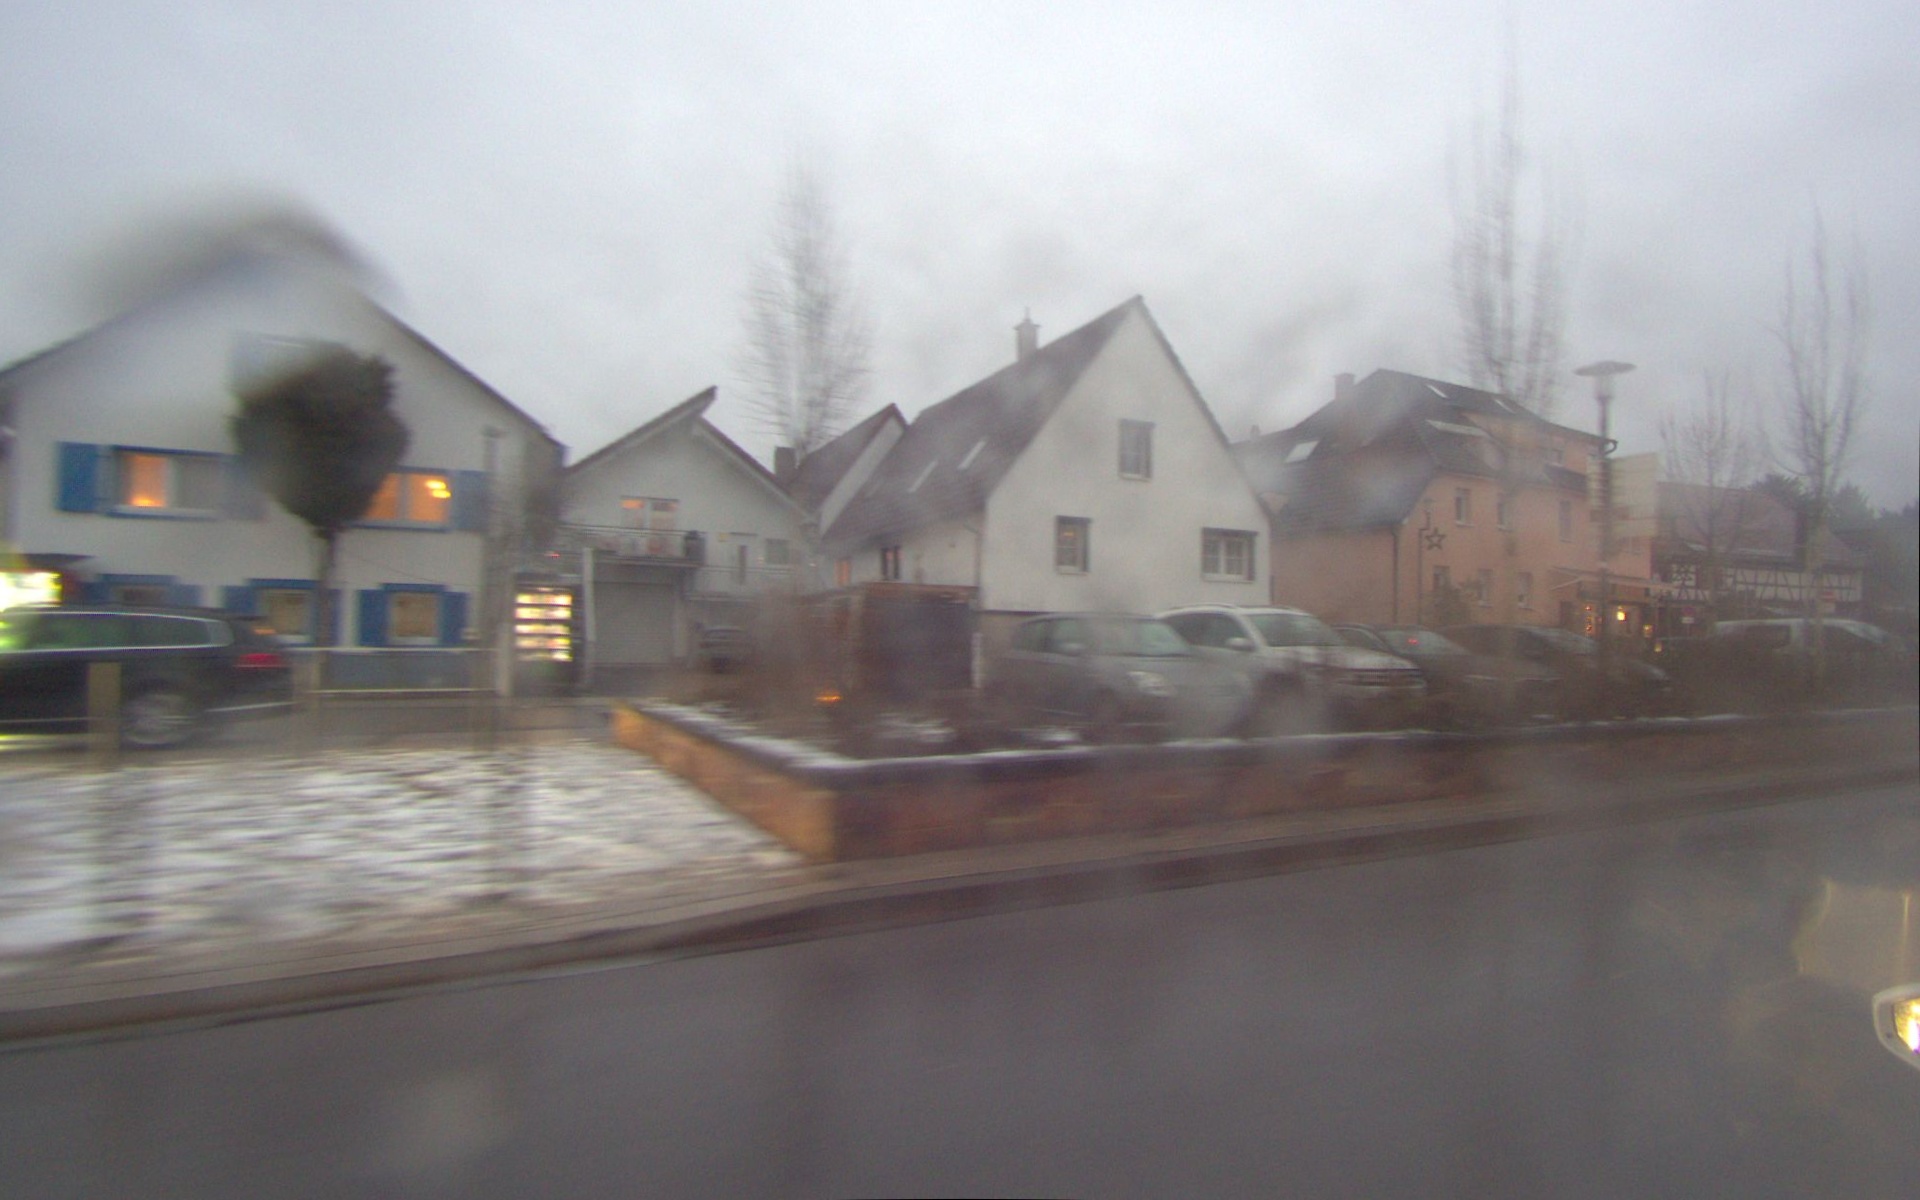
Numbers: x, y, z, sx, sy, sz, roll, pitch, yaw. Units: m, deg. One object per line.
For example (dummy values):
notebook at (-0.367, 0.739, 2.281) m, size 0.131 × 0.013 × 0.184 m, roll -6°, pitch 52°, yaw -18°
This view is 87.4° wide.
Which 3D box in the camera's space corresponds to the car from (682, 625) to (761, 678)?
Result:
car at (-7.582, 1.582, 31.684) m, size 1.890 × 1.516 × 3.924 m, roll 2°, pitch -2°, yaw -21°

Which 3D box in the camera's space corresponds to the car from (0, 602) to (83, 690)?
car at (-23.751, 1.173, 24.897) m, size 1.809 × 2.045 × 3.567 m, roll 1°, pitch -3°, yaw -20°

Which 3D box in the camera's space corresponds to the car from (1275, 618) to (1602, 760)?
car at (6.455, 1.113, 14.070) m, size 1.566 × 1.629 × 4.081 m, roll 2°, pitch -1°, yaw -25°

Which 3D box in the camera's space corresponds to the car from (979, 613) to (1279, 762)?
car at (1.754, 0.860, 11.405) m, size 1.581 × 1.390 × 3.430 m, roll 1°, pitch -1°, yaw -29°

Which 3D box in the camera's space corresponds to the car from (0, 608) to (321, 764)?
car at (-9.524, 0.861, 10.581) m, size 4.512 × 1.502 × 1.796 m, roll 1°, pitch -2°, yaw -27°

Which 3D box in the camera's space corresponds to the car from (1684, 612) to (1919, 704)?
car at (18.051, 1.137, 20.770) m, size 1.977 × 1.689 × 4.603 m, roll 2°, pitch -1°, yaw -30°

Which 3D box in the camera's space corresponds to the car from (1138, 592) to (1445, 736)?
car at (4.015, 0.725, 12.844) m, size 1.690 × 1.543 × 3.787 m, roll 2°, pitch -1°, yaw -21°
